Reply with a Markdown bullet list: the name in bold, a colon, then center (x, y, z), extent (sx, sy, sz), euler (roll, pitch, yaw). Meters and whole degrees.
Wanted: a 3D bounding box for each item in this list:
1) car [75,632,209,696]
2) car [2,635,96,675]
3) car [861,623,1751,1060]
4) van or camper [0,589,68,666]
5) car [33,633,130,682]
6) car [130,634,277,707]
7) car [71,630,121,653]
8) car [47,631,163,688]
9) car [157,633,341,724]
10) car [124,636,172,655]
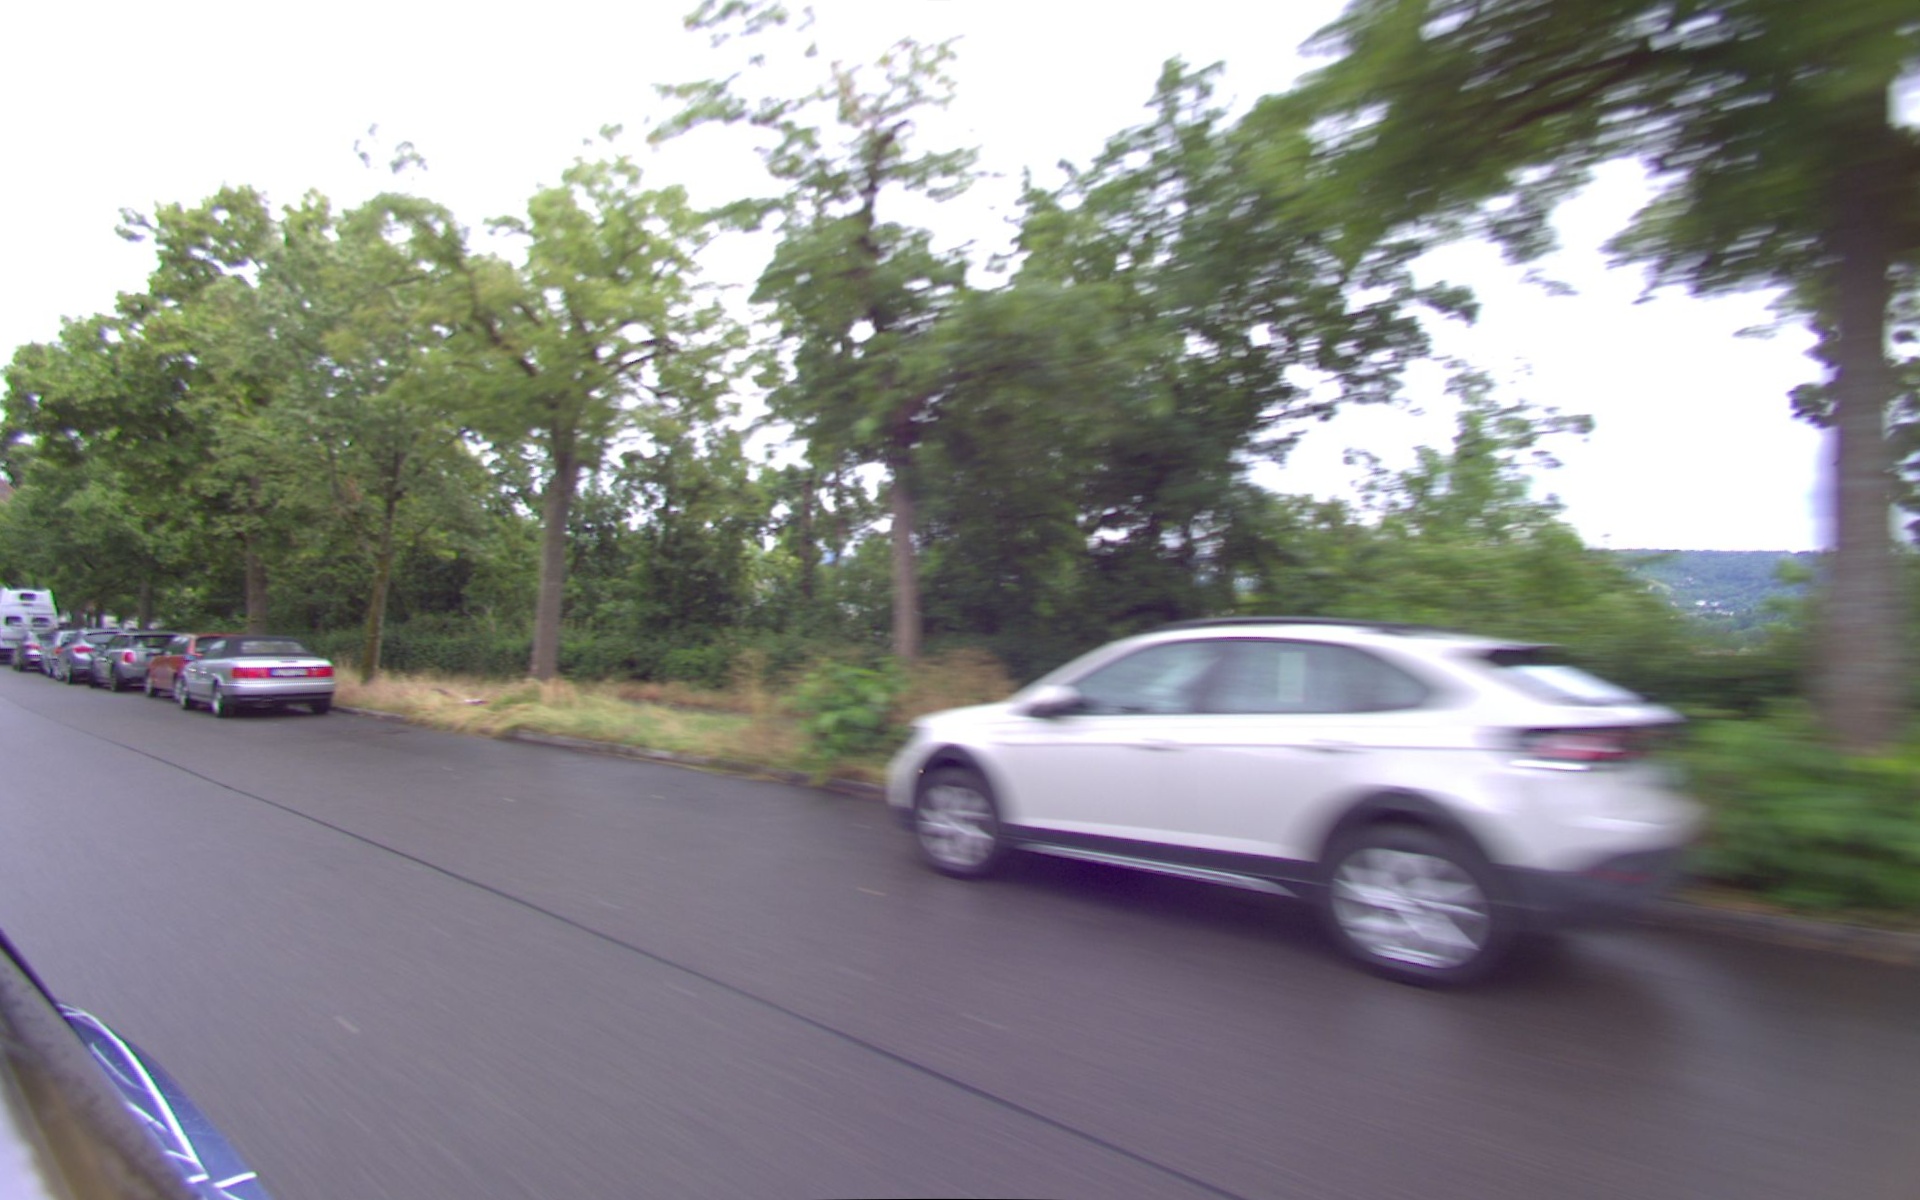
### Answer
- **car**: center (-20.474, 1.541, 25.260), extent (4.715, 1.416, 1.971), euler (-1, -3, 44)
- **car**: center (-32.308, 1.944, 35.853), extent (5.355, 1.319, 1.971), euler (-3, -5, 43)
- **car**: center (1.497, 0.863, 5.482), extent (4.257, 1.448, 1.670), euler (-1, -2, 44)
- **van or camper**: center (-40.209, 1.159, 43.141), extent (6.560, 3.050, 2.479), euler (-1, -3, 42)
- **car**: center (-27.662, 1.792, 31.806), extent (1.970, 1.416, 4.716), euler (4, -4, -44)
- **car**: center (-16.295, 1.451, 21.733), extent (3.997, 1.372, 1.579), euler (-1, -2, 39)
- **car**: center (-63.260, 3.017, 74.170), extent (1.660, 1.521, 4.219), euler (5, -3, -26)
- **car**: center (-24.048, 1.627, 28.406), extent (4.715, 1.416, 1.971), euler (-1, -3, 44)
- **car**: center (-12.921, 1.329, 18.295), extent (4.417, 1.413, 1.736), euler (-1, -2, 42)
- **car**: center (-67.605, 3.790, 84.347), extent (1.632, 1.440, 4.388), euler (3, -4, -18)
